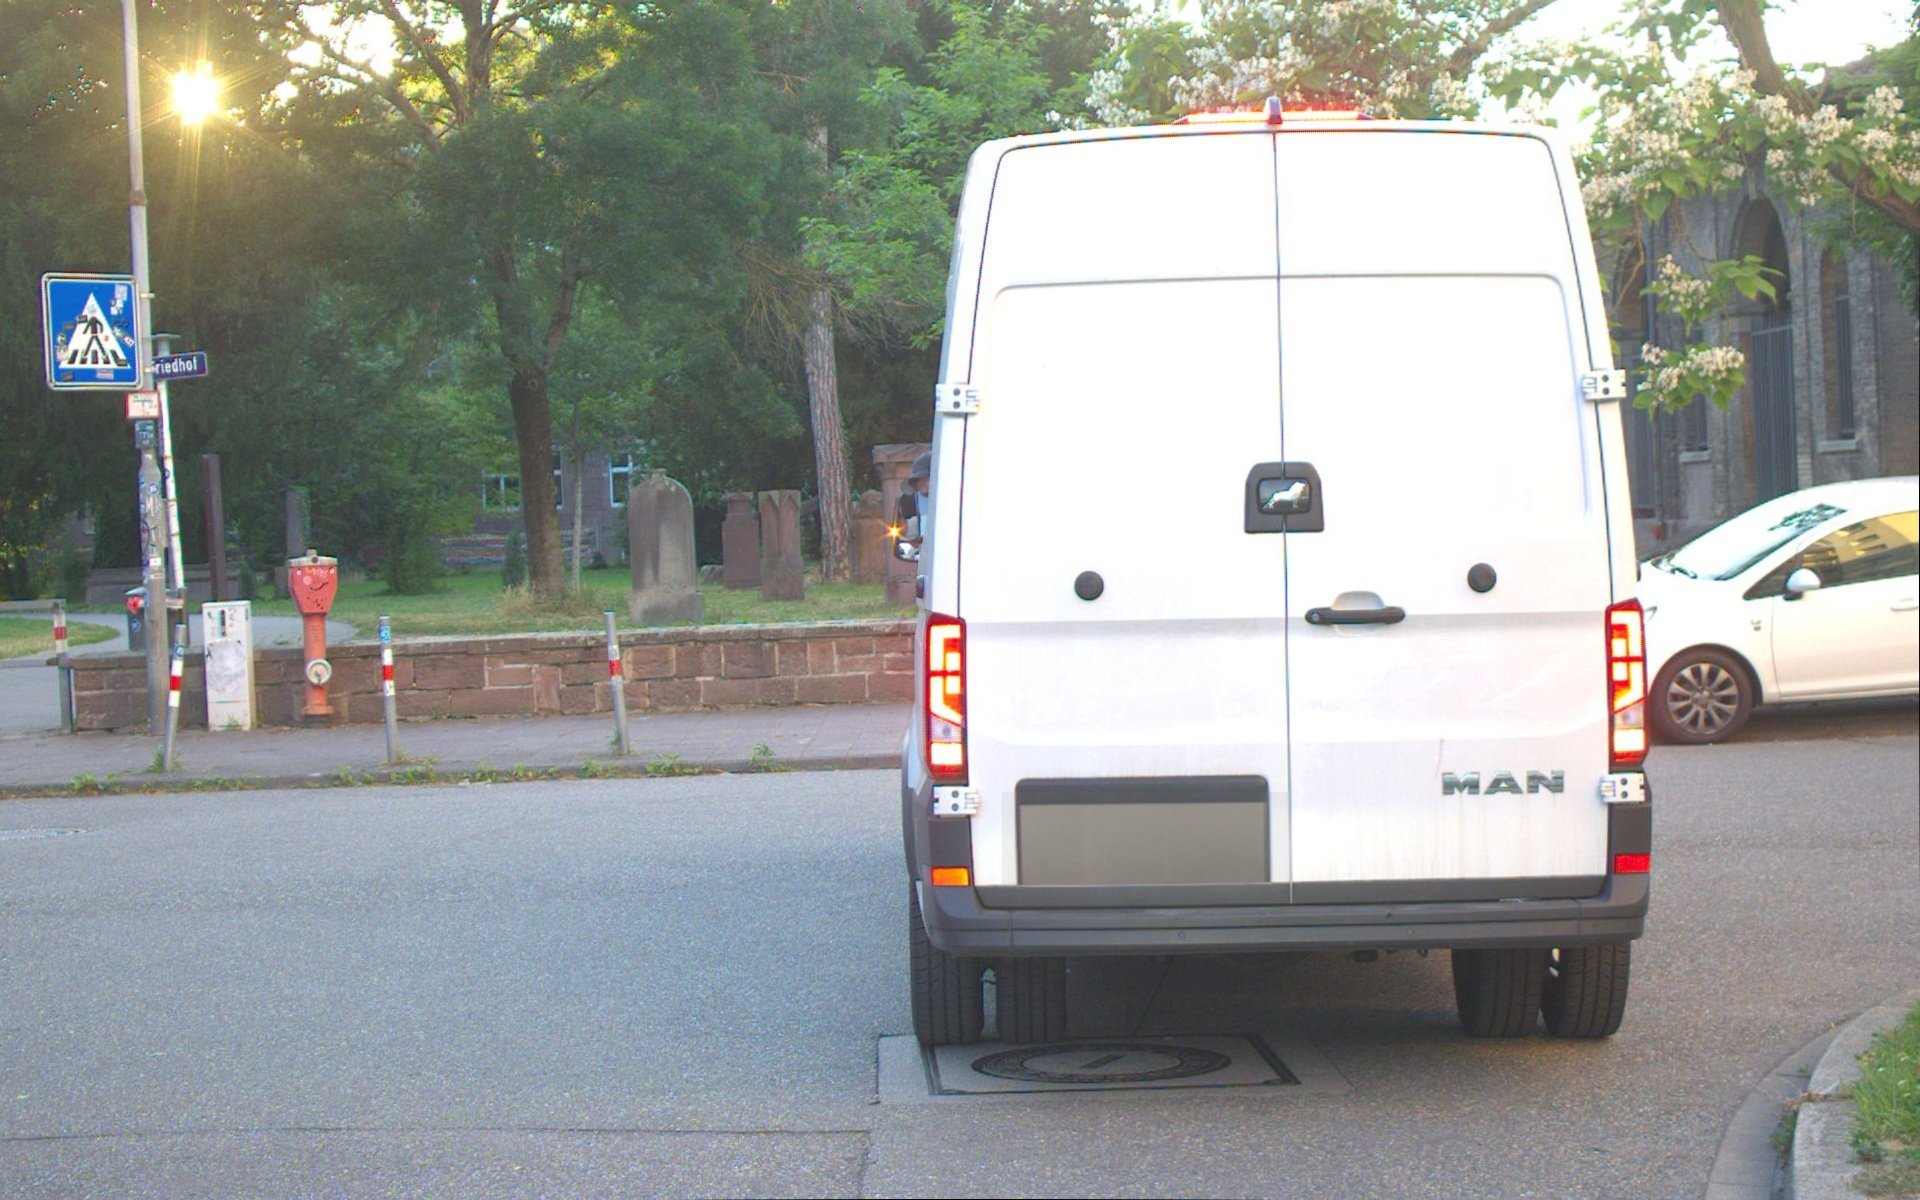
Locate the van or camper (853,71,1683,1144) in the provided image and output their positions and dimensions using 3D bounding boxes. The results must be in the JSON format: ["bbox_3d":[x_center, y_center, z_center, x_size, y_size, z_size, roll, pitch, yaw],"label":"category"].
[{"bbox_3d":[0.786,-0.045,11.734,1.993,2.609,6.403,-2,1,0],"label":"van or camper"}]

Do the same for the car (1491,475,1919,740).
[{"bbox_3d":[5.544,0.000,22.094,3.854,1.568,1.958,-1,2,-3],"label":"car"}]
